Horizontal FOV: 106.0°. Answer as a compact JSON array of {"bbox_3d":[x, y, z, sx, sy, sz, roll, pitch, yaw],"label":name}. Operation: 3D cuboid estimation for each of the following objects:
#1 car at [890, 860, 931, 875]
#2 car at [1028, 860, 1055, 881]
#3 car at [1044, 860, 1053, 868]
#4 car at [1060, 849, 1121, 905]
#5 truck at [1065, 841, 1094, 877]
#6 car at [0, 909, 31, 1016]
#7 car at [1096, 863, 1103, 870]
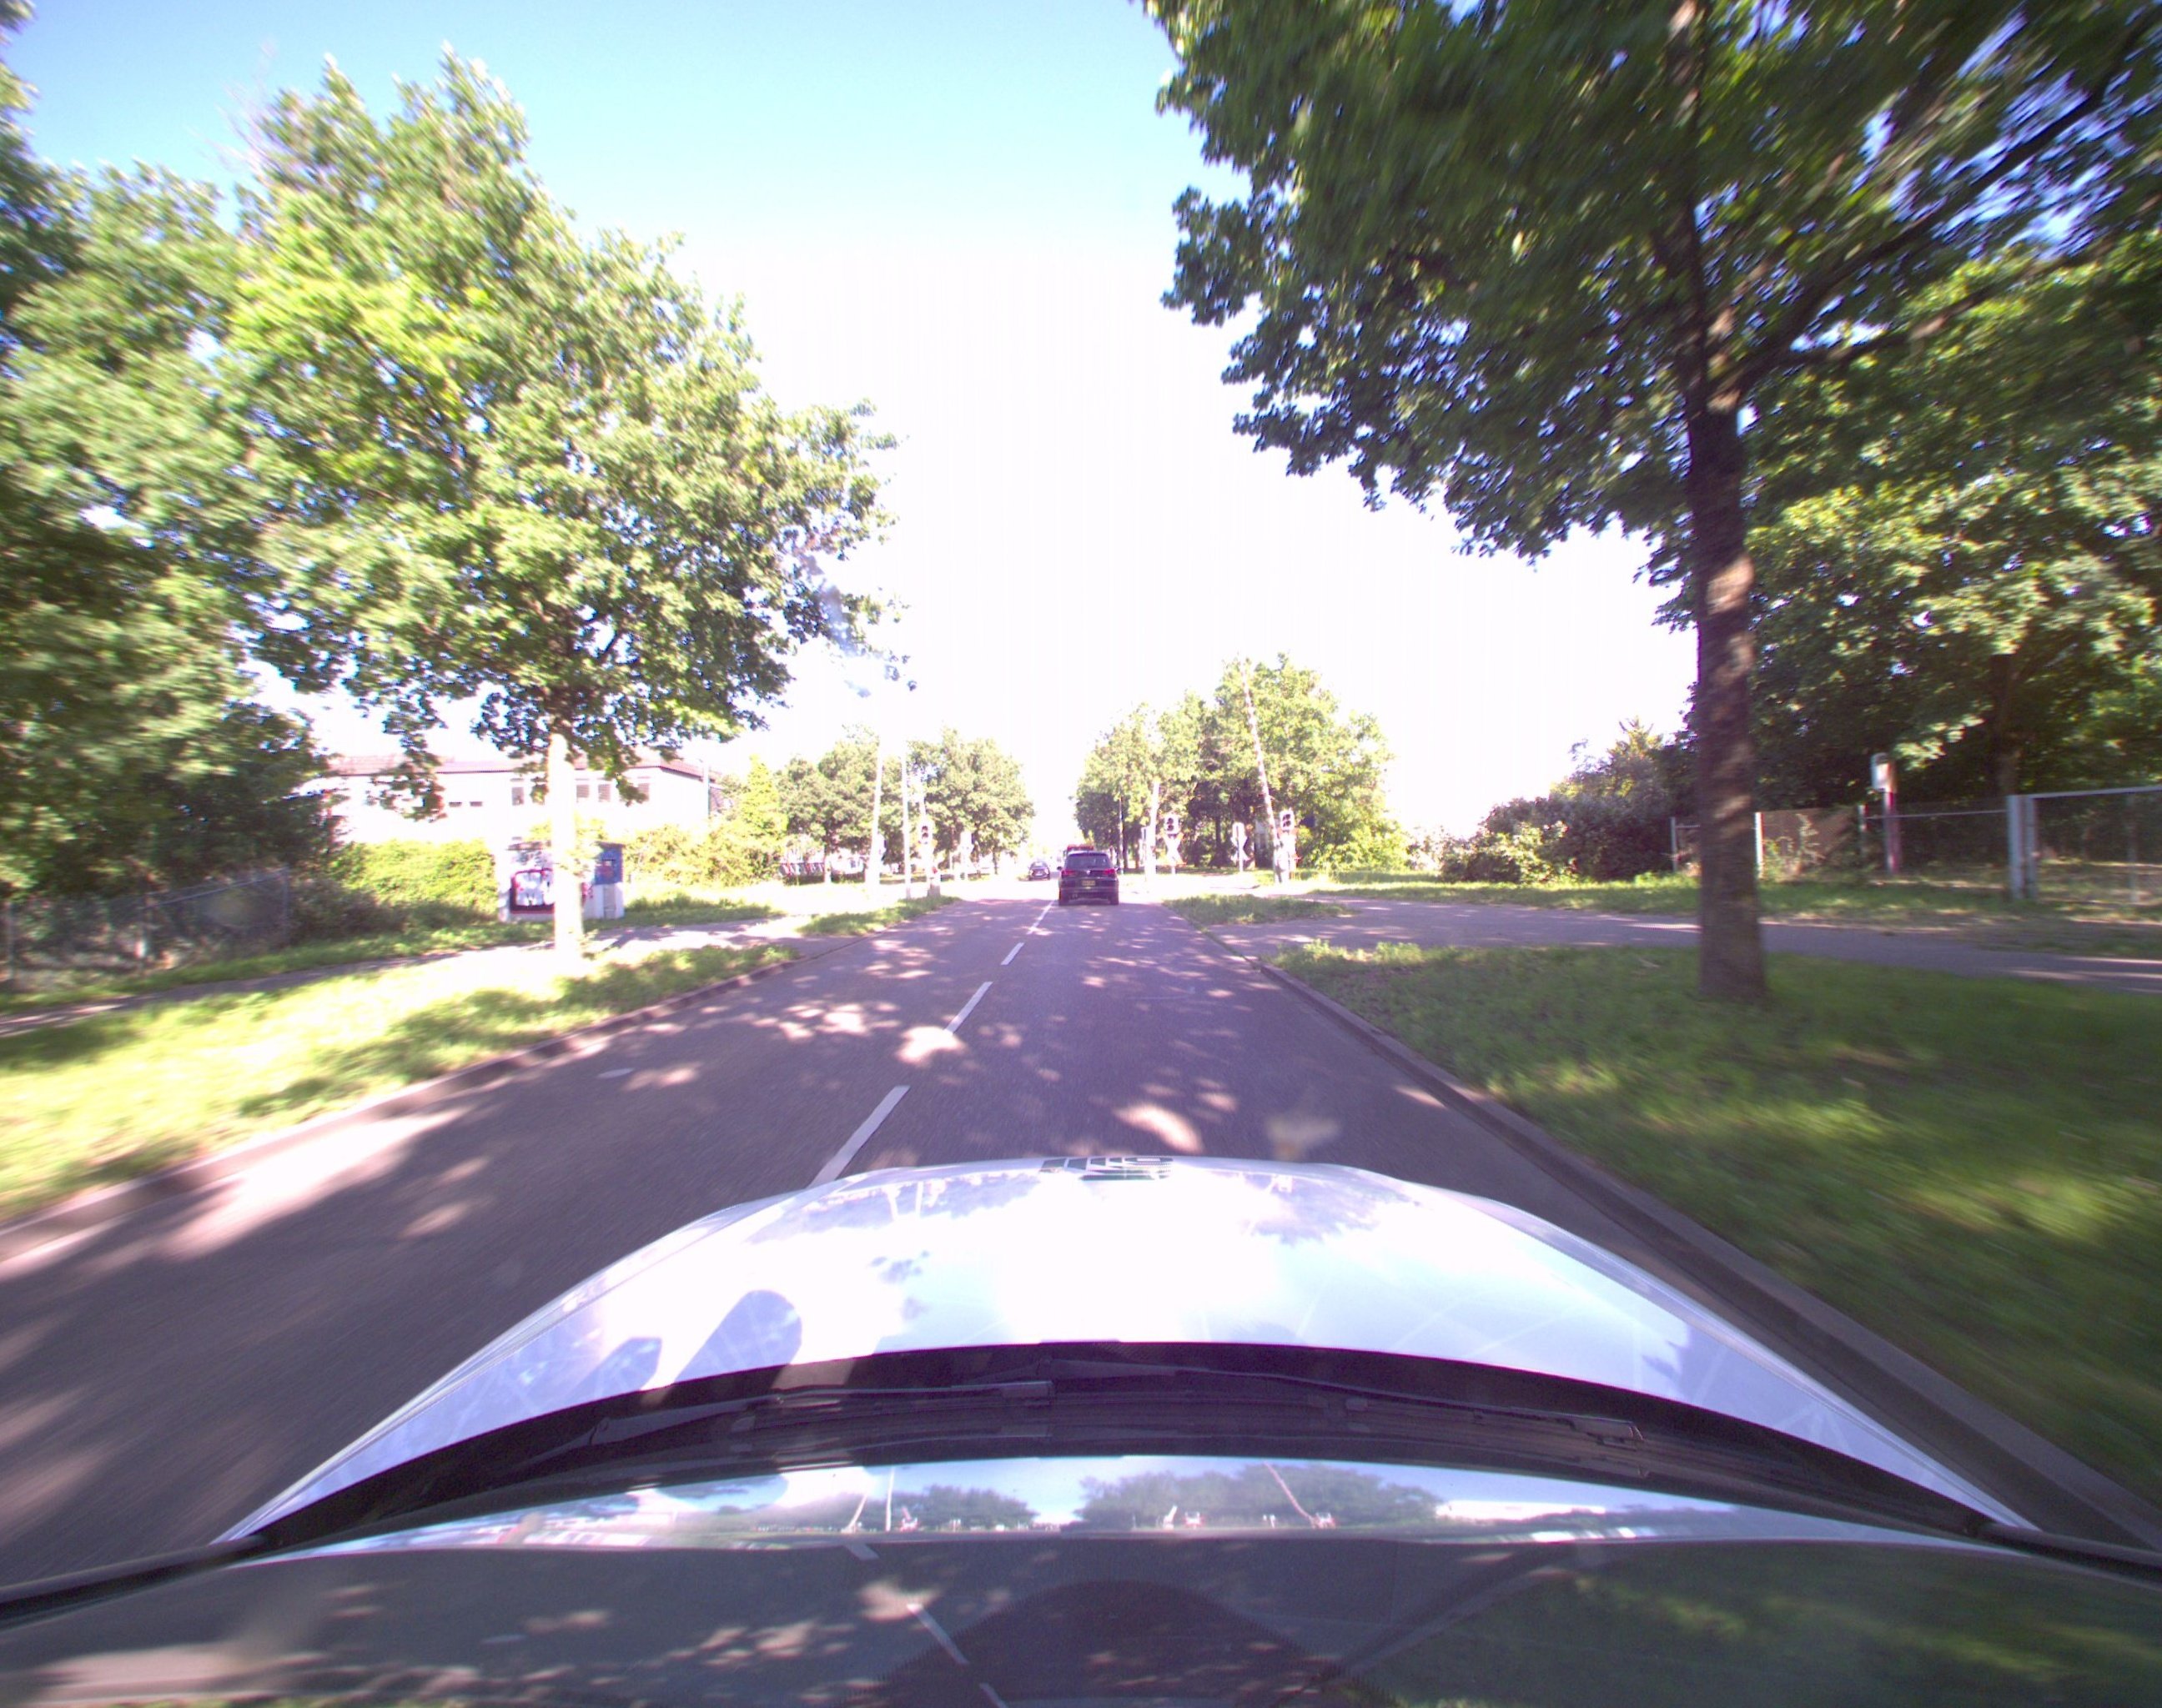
[{"bbox_3d":[-24.817,1.950,118.594,5.792,2.014,1.992,0,0,-11],"label":"car"},{"bbox_3d":[-2.946,1.230,61.645,1.558,1.504,4.004,0,0,4],"label":"car"},{"bbox_3d":[-7.984,2.384,200.253,1.991,2.014,3.991,0,0,-6],"label":"car"},{"bbox_3d":[0.320,0.670,25.822,1.775,1.633,4.001,0,0,1],"label":"car"},{"bbox_3d":[-0.039,0.443,79.677,2.503,3.243,8.154,-2,0,1],"label":"truck"},{"bbox_3d":[-20.643,1.885,13.298,4.180,1.801,1.998,0,0,-3],"label":"car"},{"bbox_3d":[4.155,2.730,181.485,1.447,1.406,2.855,0,0,0],"label":"car"}]
